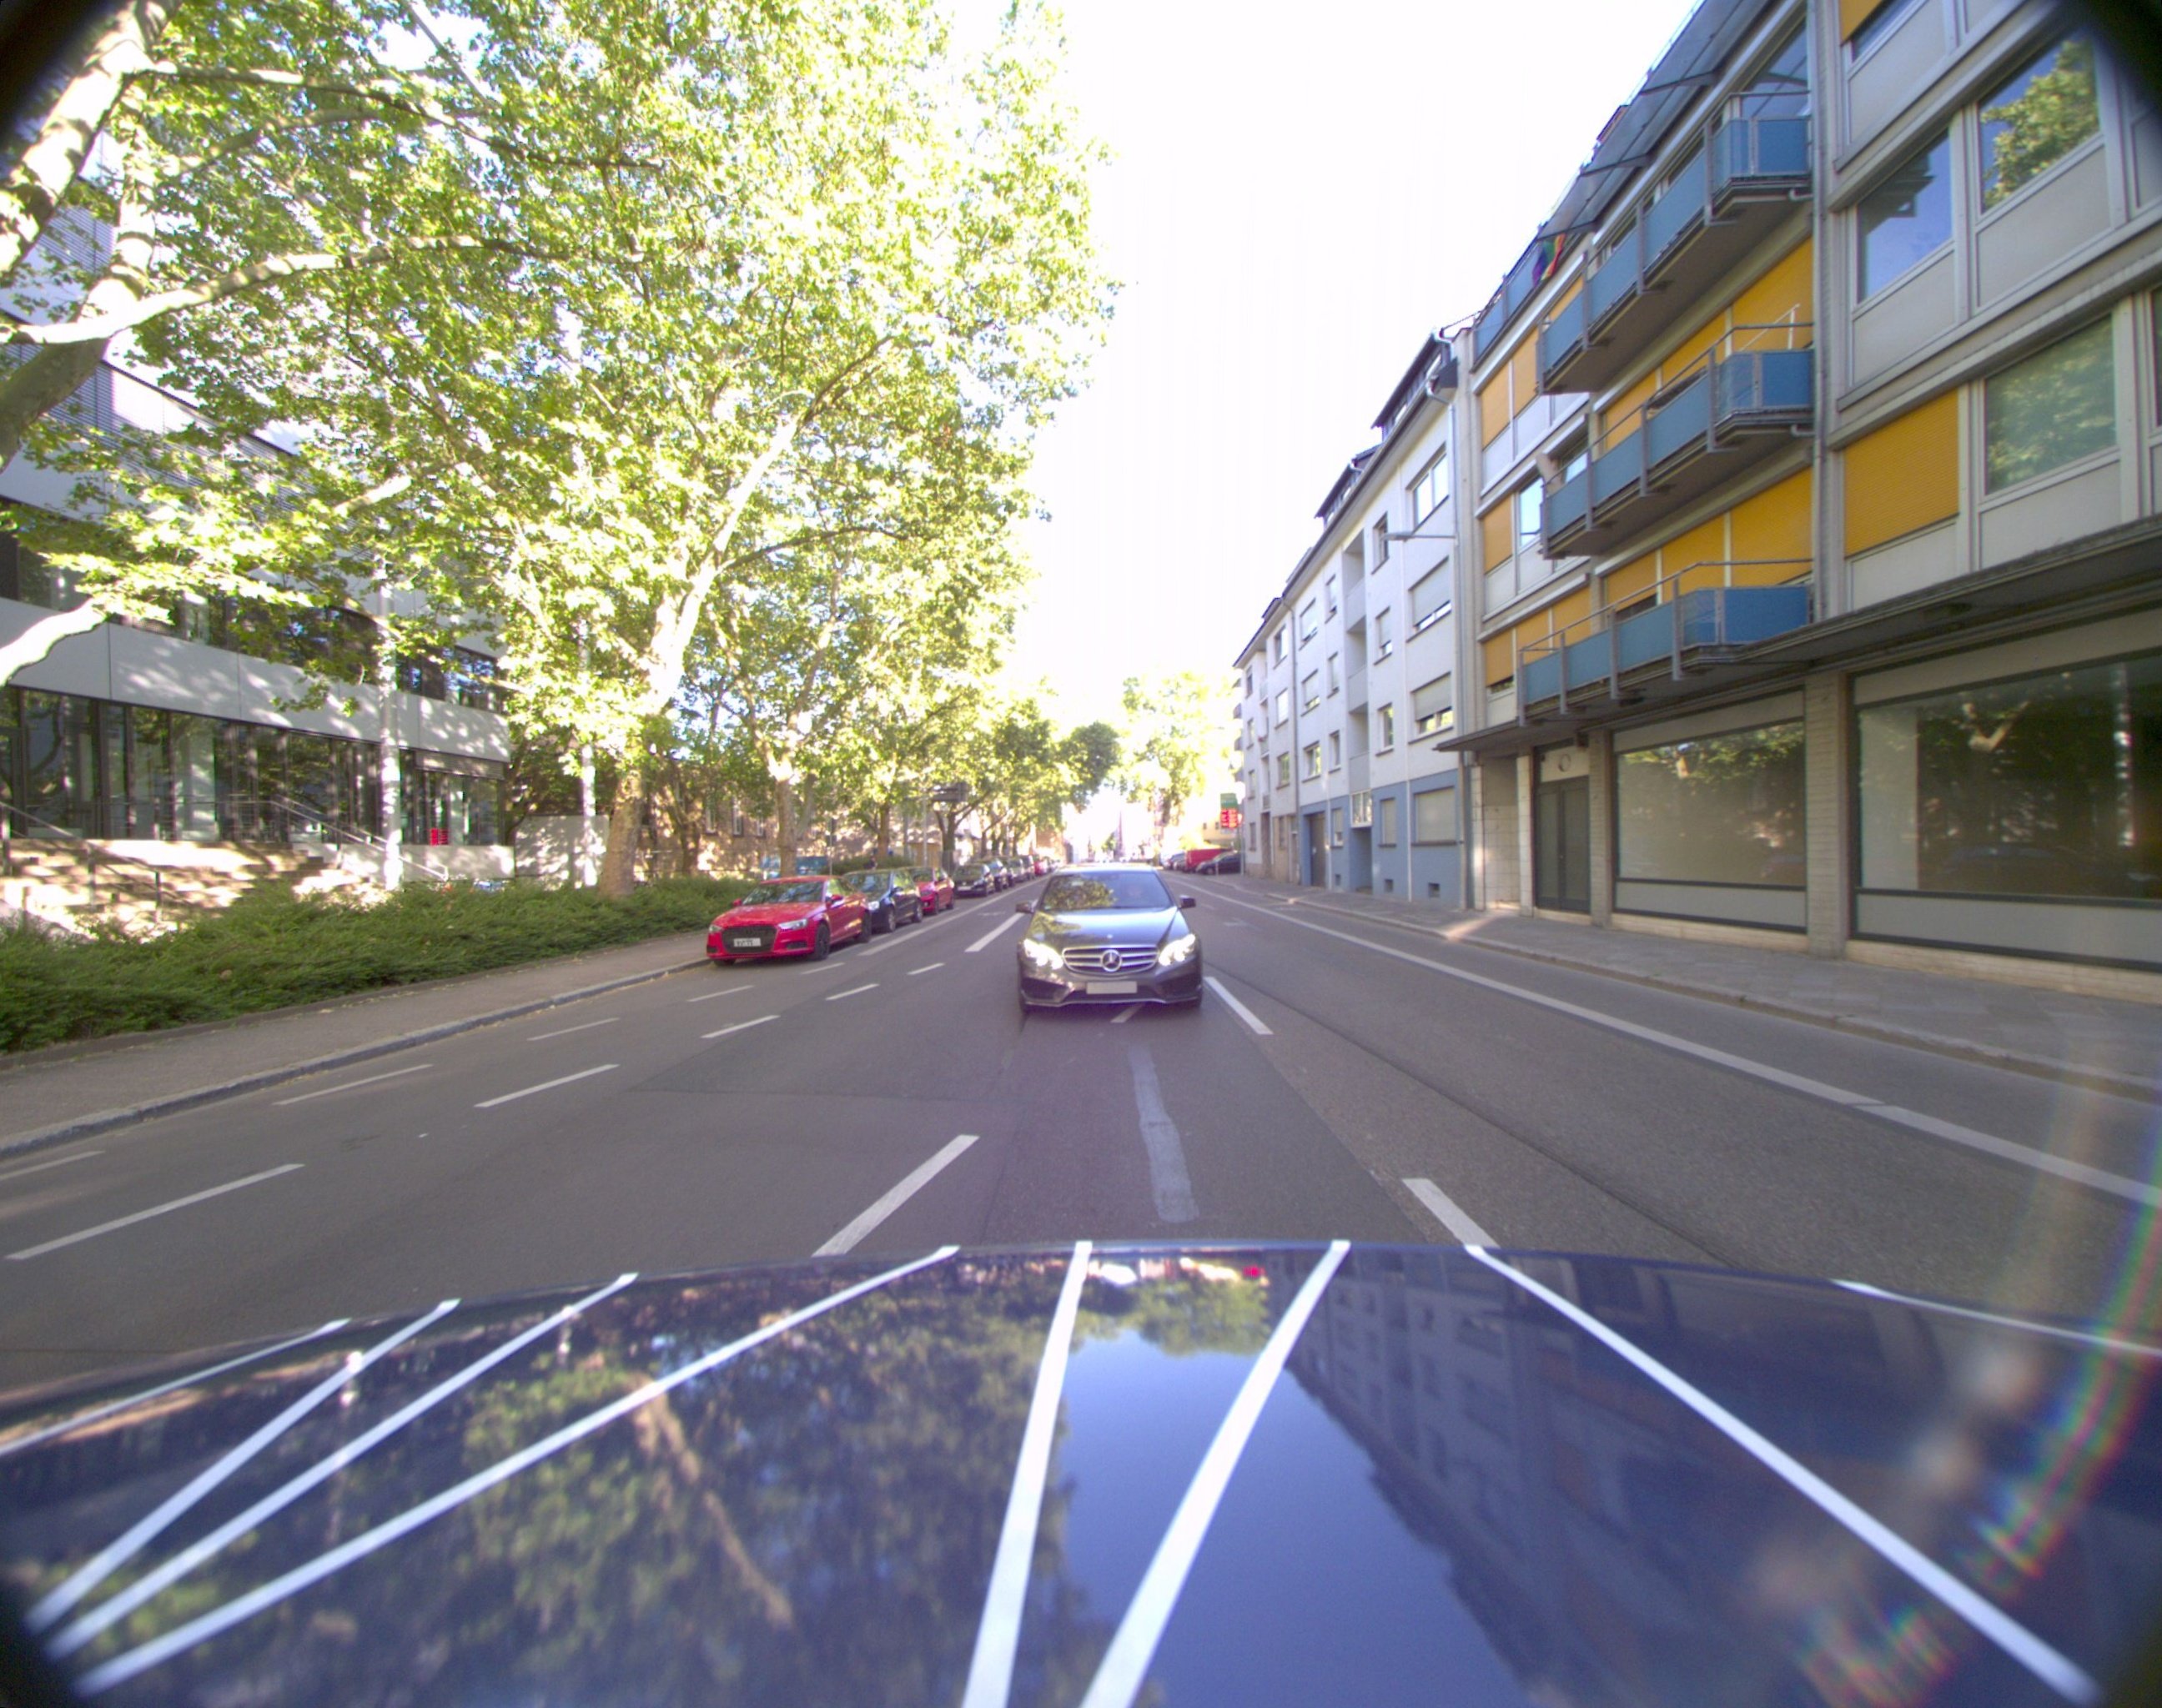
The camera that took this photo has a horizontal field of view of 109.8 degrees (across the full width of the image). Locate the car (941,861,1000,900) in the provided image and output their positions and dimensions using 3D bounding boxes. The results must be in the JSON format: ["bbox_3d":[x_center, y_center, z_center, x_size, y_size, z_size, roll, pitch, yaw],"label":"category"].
[{"bbox_3d":[-4.746,1.109,33.172,1.835,1.459,4.168,-2,0,1],"label":"car"}]

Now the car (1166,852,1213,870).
[{"bbox_3d":[10.433,0.679,73.187,4.255,1.461,1.653,-4,0,1],"label":"car"}]

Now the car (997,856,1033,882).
[{"bbox_3d":[-4.338,0.952,50.603,1.835,1.604,4.259,-2,0,1],"label":"car"}]

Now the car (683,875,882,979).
[{"bbox_3d":[-5.130,1.181,13.765,1.835,1.396,4.247,-2,0,1],"label":"car"}]

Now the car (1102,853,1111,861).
[{"bbox_3d":[5.361,0.558,157.888,1.726,1.530,4.000,-1,0,1],"label":"car"}]

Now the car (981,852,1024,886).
[{"bbox_3d":[-4.510,0.828,44.109,1.835,1.787,4.463,-2,0,1],"label":"car"}]

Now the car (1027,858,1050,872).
[{"bbox_3d":[-3.990,1.033,71.783,1.835,1.220,4.259,-2,0,1],"label":"car"}]

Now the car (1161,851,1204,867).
[{"bbox_3d":[10.774,0.521,80.610,4.255,1.461,1.653,-4,0,1],"label":"car"}]

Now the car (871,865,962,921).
[{"bbox_3d":[-5.043,1.139,23.835,1.835,1.459,4.168,-2,0,1],"label":"car"}]

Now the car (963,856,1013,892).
[{"bbox_3d":[-4.597,0.970,38.069,1.835,1.596,4.161,-2,0,1],"label":"car"}]

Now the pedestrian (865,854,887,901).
[{"bbox_3d":[-8.110,0.922,30.077,0.660,1.849,0.641,-2,1,1],"label":"pedestrian"}]

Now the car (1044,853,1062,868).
[{"bbox_3d":[-3.411,0.794,92.837,1.835,1.667,4.259,-2,0,1],"label":"car"}]

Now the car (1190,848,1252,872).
[{"bbox_3d":[10.484,0.460,57.044,4.255,1.461,1.653,-4,0,1],"label":"car"}]

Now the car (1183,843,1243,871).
[{"bbox_3d":[10.415,0.227,60.124,4.255,1.907,1.818,-4,0,0],"label":"car"}]

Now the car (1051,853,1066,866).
[{"bbox_3d":[-3.046,0.693,102.944,1.835,1.667,4.259,-2,0,1],"label":"car"}]

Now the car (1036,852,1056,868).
[{"bbox_3d":[-3.939,0.676,86.222,1.835,1.667,4.259,-2,0,1],"label":"car"}]

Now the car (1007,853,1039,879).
[{"bbox_3d":[-4.179,0.818,55.634,1.835,1.750,4.259,-2,0,1],"label":"car"}]

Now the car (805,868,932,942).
[{"bbox_3d":[-5.041,1.155,18.625,1.835,1.438,4.168,-2,0,1],"label":"car"}]

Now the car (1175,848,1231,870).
[{"bbox_3d":[10.052,0.413,62.706,4.255,1.461,1.653,-4,0,1],"label":"car"}]

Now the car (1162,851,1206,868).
[{"bbox_3d":[10.604,0.547,78.645,4.255,1.461,1.653,-4,0,1],"label":"car"}]

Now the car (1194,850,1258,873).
[{"bbox_3d":[10.400,0.523,54.742,4.255,1.392,1.653,-4,0,1],"label":"car"}]

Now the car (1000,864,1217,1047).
[{"bbox_3d":[0.267,0.912,8.758,1.849,1.490,4.302,-1,0,1],"label":"car"}]

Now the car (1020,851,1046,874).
[{"bbox_3d":[-4.145,0.688,66.342,1.835,1.839,4.259,-2,0,1],"label":"car"}]

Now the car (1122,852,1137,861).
[{"bbox_3d":[11.167,0.543,174.175,1.995,1.825,4.143,-1,0,24],"label":"car"}]
